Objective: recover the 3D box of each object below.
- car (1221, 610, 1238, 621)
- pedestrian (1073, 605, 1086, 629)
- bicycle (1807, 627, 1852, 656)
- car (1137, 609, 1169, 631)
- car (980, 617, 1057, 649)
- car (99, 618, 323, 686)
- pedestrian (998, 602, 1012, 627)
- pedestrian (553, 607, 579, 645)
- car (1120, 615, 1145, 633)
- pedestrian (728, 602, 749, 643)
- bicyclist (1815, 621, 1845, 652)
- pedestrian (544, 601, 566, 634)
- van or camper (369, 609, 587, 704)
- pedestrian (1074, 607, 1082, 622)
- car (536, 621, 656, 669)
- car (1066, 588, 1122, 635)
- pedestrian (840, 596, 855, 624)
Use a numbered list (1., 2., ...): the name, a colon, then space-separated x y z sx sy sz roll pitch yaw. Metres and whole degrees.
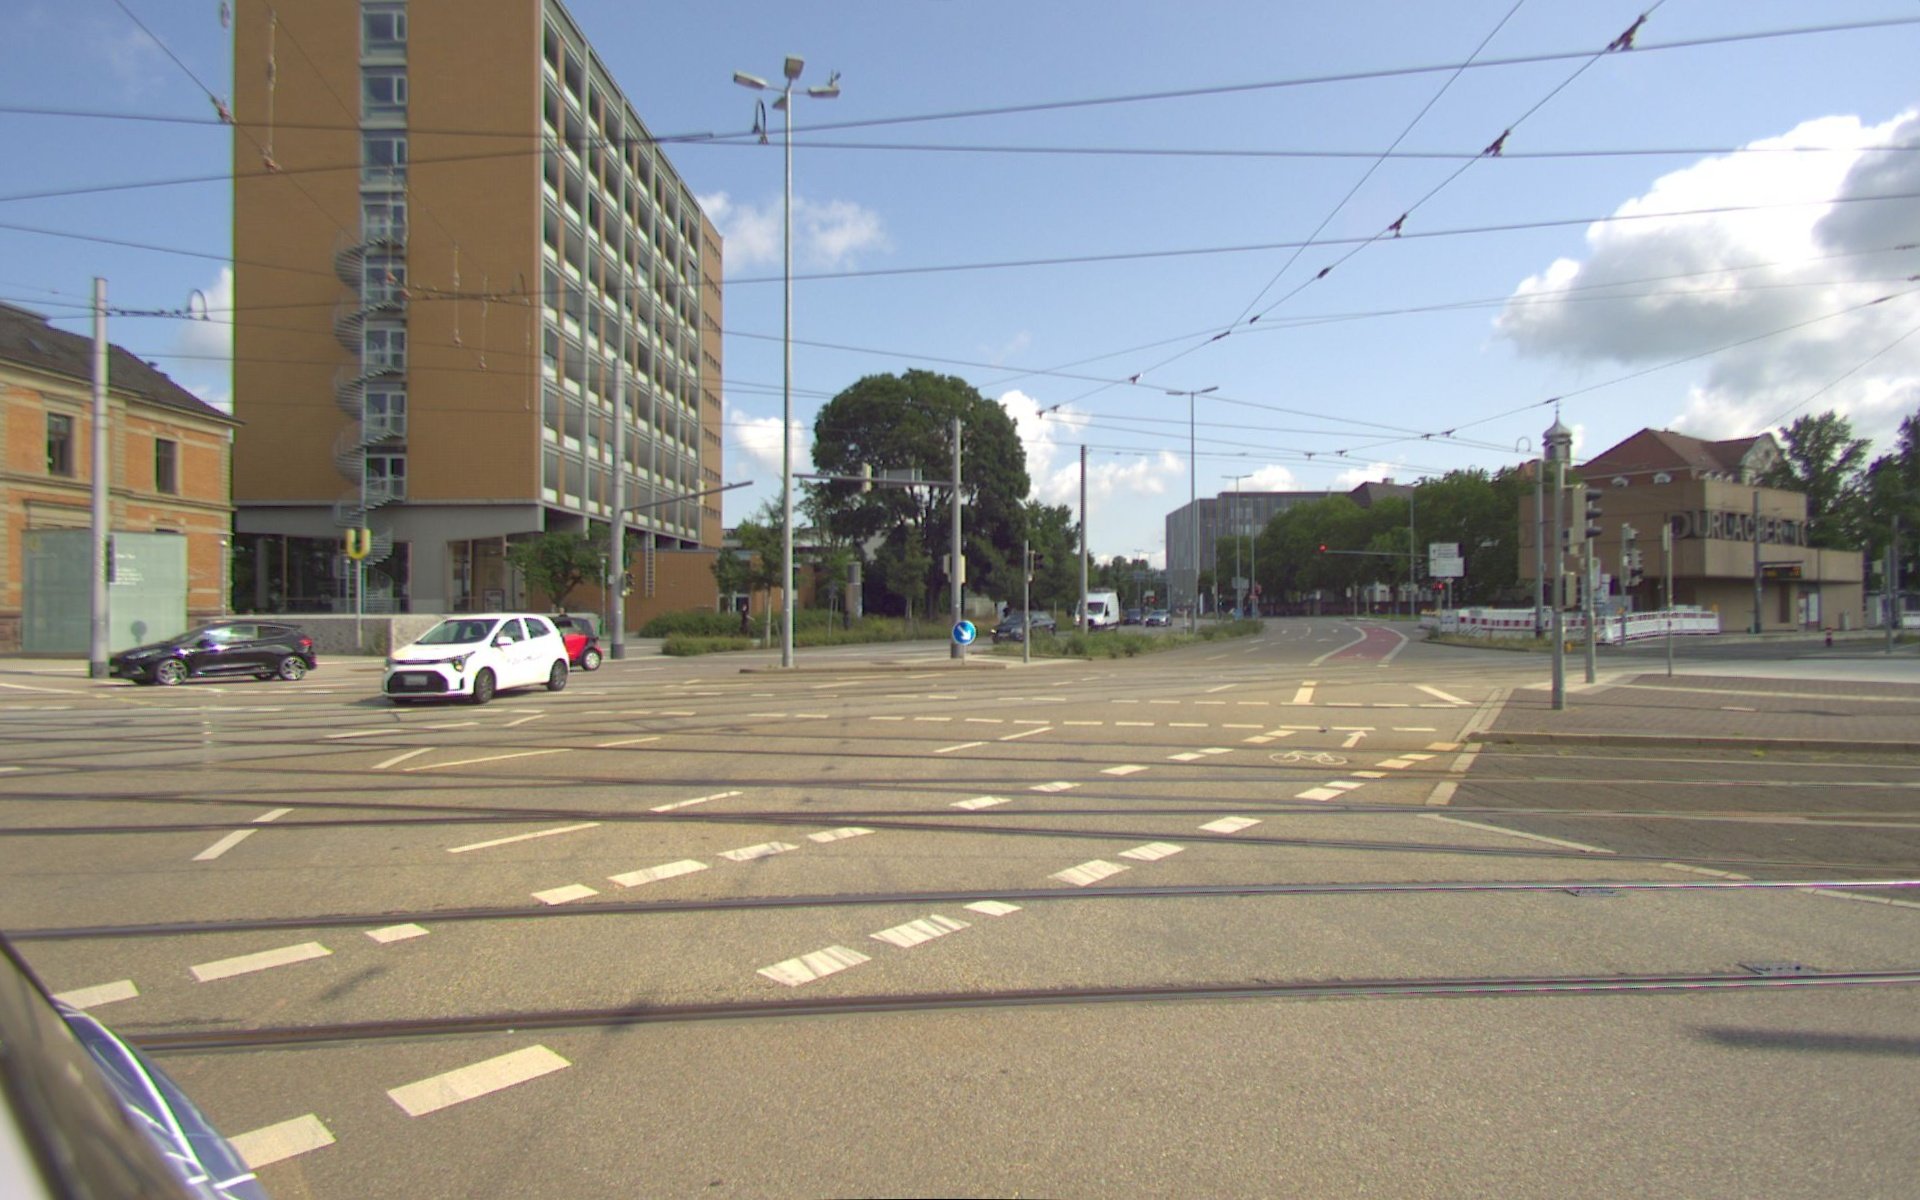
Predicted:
1. car: 40.773 2.303 153.338 1.978 1.580 4.768 0 -1 10
2. pedestrian: 10.317 1.472 87.028 0.978 2.029 1.125 0 -1 14
3. bicycle: 34.371 1.643 39.988 2.035 1.000 0.814 4 -1 -34
4. car: 17.134 1.744 89.889 1.987 1.785 4.109 2 0 22
5. car: 2.781 1.482 47.161 1.989 1.290 4.504 2 0 26
6. car: -17.639 1.161 23.983 1.711 1.465 3.950 0 -1 37
7. pedestrian: 3.500 1.127 78.757 0.757 1.884 0.639 6 3 28
8. pedestrian: -16.811 1.109 43.205 0.765 1.600 0.762 0 -1 13
9. car: 16.977 2.348 99.615 1.855 1.604 3.644 2 0 18
10. pedestrian: -11.582 1.192 52.943 0.794 2.028 0.727 4 3 -22
11. bicyclist: 34.393 1.431 40.004 0.726 1.161 0.699 4 -1 -34
12. pedestrian: -19.670 0.859 49.133 0.922 1.600 0.767 0 -1 -29
13. van or camper: -8.355 0.933 17.952 1.609 1.487 3.991 -1 -1 7
14. pedestrian: 16.502 2.048 141.509 0.978 2.029 1.125 0 -1 15
15. car: -10.475 1.255 29.267 1.604 1.223 2.979 0 0 31
16. car: 8.619 0.738 64.602 2.466 2.901 6.112 0 -1 18
17. pedestrian: -6.268 0.577 56.537 0.479 1.531 0.574 5 2 35
